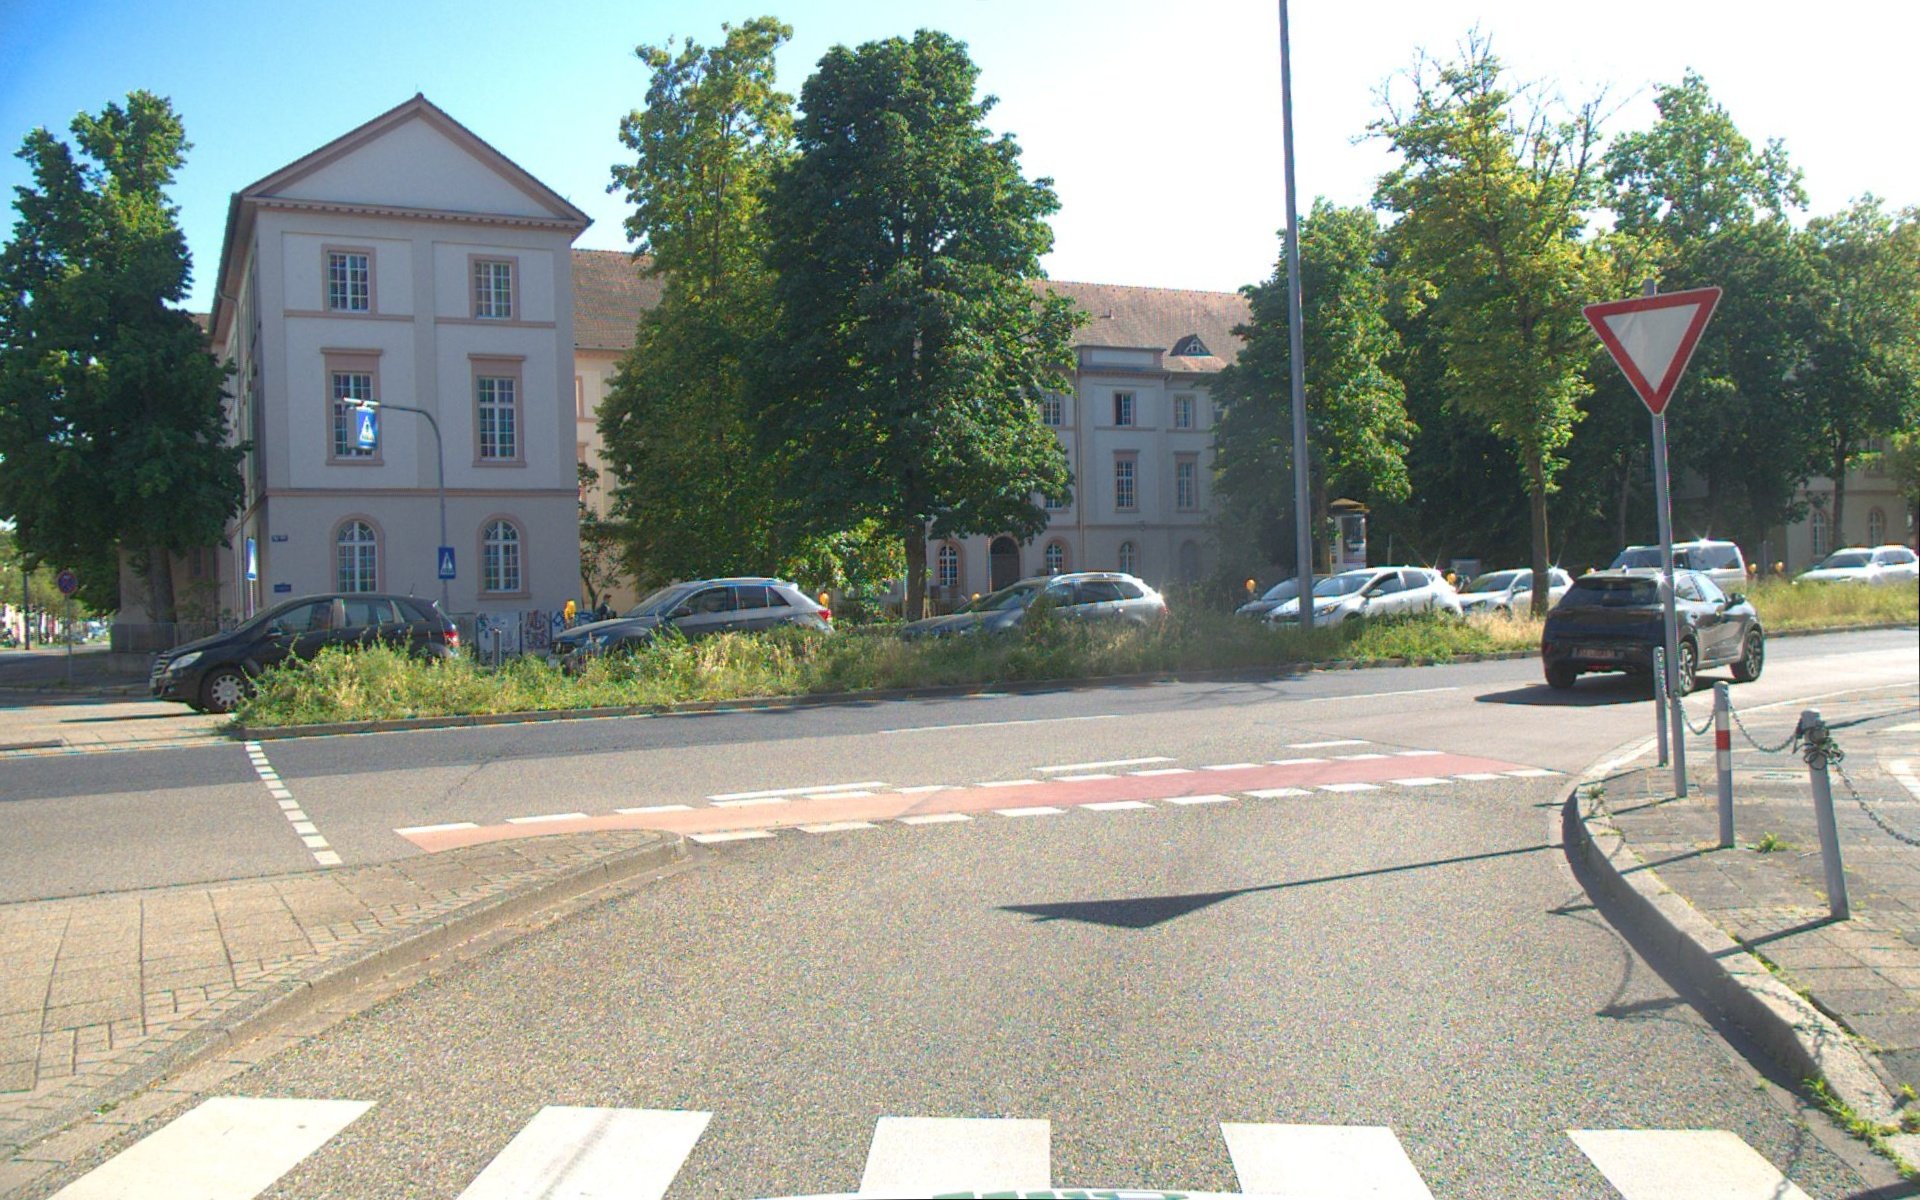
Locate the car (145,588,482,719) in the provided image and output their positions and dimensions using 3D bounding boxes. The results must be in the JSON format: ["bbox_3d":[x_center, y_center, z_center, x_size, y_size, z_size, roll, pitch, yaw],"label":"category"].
[{"bbox_3d":[-9.262,0.712,23.804,4.227,1.613,1.841,-2,1,-34],"label":"car"}]

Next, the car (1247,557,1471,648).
[{"bbox_3d":[7.587,0.029,31.348,4.155,1.545,1.780,-2,1,-34],"label":"car"}]

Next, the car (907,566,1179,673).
[{"bbox_3d":[1.422,0.277,27.504,4.311,1.545,1.780,-3,2,-34],"label":"car"}]

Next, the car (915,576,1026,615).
[{"bbox_3d":[0.467,-0.193,70.554,4.627,1.518,1.629,2,-1,-33],"label":"car"}]

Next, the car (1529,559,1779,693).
[{"bbox_3d":[9.276,0.261,21.967,1.867,1.545,3.976,1,3,42],"label":"car"}]

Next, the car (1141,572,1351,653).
[{"bbox_3d":[5.984,0.219,34.455,4.295,1.545,1.780,-1,1,-34],"label":"car"}]

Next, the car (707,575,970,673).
[{"bbox_3d":[-2.086,0.374,28.944,4.295,1.545,1.780,-1,1,-34],"label":"car"}]

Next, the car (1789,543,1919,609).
[{"bbox_3d":[26.251,-0.722,47.921,4.972,1.773,1.780,-2,0,-34],"label":"car"}]

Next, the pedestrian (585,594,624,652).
[{"bbox_3d":[-9.802,0.628,45.592,0.774,1.562,0.732,-2,0,-38],"label":"pedestrian"}]

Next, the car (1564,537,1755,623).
[{"bbox_3d":[18.121,-0.545,42.801,4.957,2.063,2.214,-2,1,-34],"label":"car"}]

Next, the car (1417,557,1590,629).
[{"bbox_3d":[12.791,-0.172,38.862,4.031,1.545,1.780,-2,1,-34],"label":"car"}]

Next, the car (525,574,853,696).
[{"bbox_3d":[-3.834,0.438,23.658,4.295,1.545,1.780,-1,1,-34],"label":"car"}]
